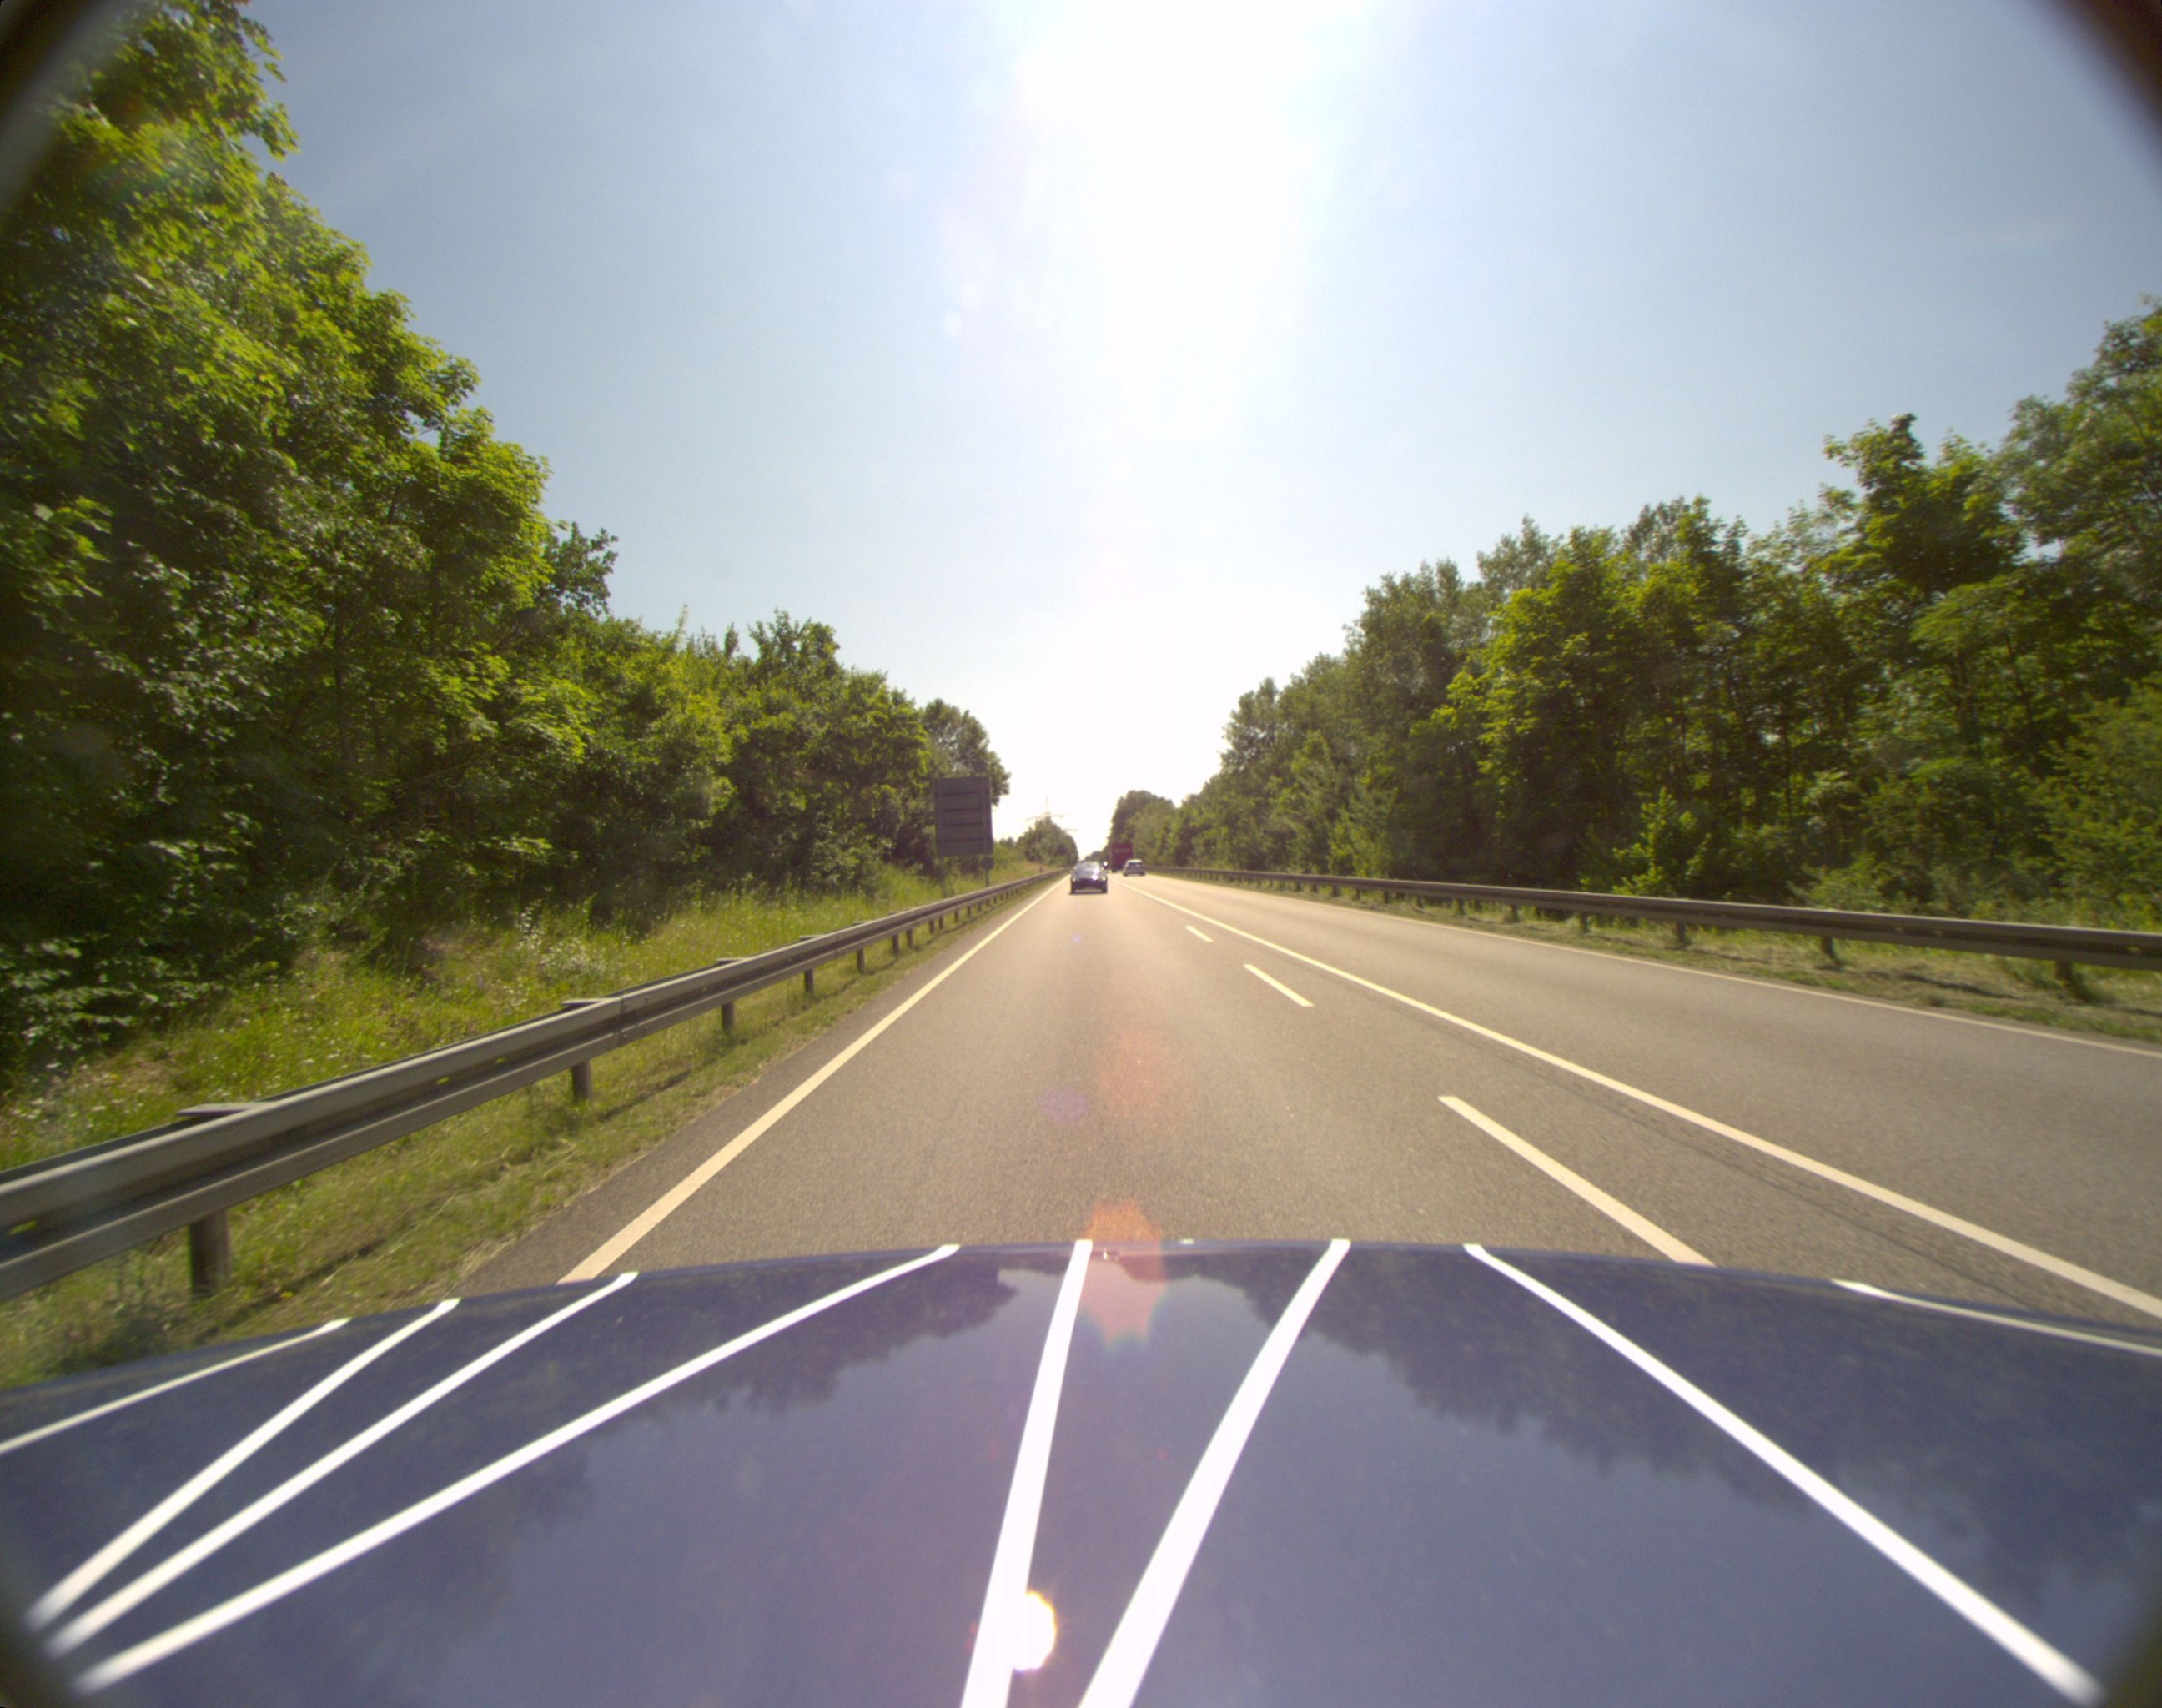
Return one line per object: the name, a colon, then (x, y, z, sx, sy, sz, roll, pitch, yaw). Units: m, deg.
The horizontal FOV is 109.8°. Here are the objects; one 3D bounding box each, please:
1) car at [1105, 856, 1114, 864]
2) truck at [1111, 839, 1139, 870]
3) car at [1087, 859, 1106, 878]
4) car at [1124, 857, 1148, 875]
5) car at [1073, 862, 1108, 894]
car: (5.891, 1.300, 158.528, 1.762, 1.694, 4.000, -1, 0, 0)
truck: (5.558, 0.088, 97.322, 3.199, 3.678, 9.007, -2, 0, 1)
car: (1.243, 1.187, 62.905, 1.443, 1.443, 3.298, -1, 0, -1)
car: (5.086, 1.076, 70.667, 1.823, 1.537, 4.526, -1, 0, -1)
car: (0.446, 1.076, 35.218, 1.529, 1.387, 3.443, -1, 0, 0)
